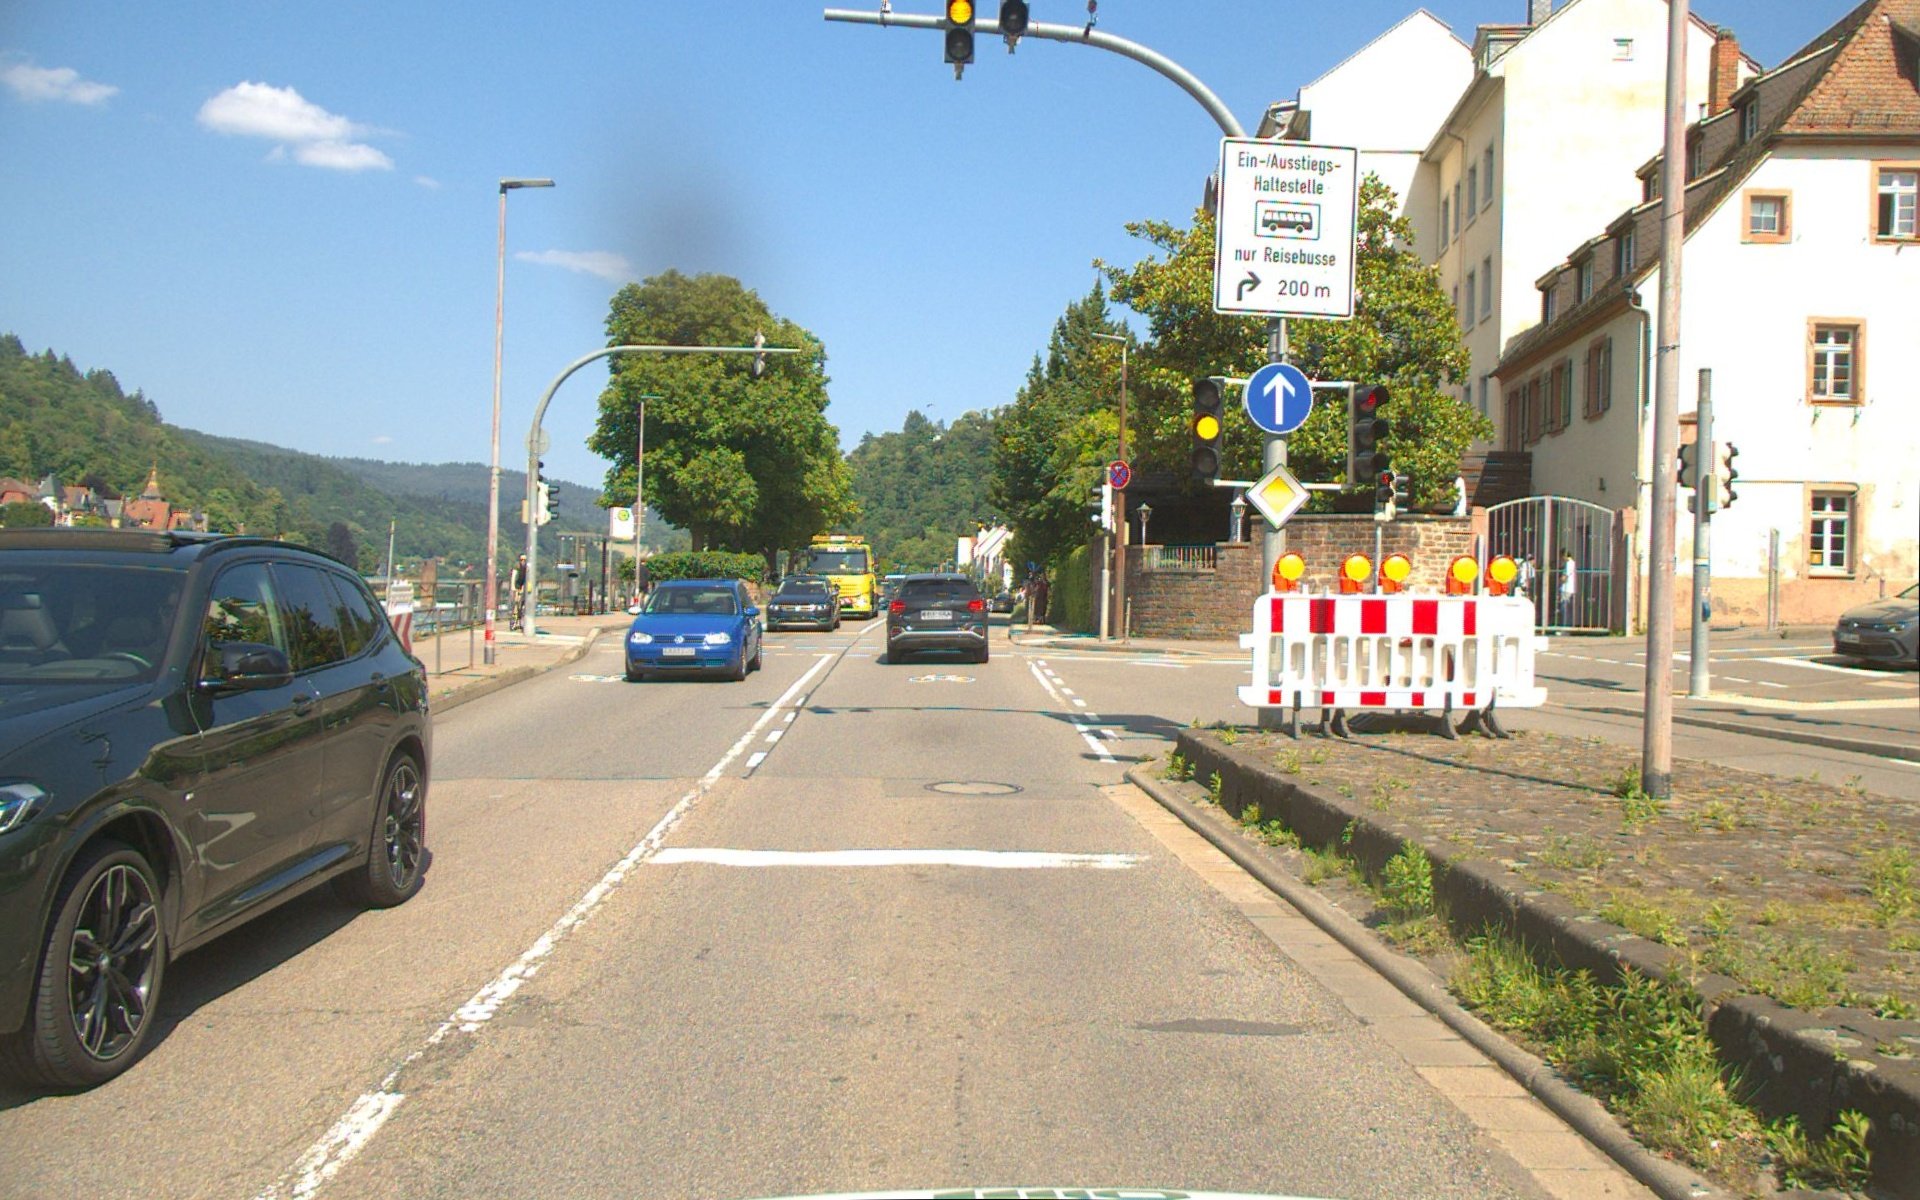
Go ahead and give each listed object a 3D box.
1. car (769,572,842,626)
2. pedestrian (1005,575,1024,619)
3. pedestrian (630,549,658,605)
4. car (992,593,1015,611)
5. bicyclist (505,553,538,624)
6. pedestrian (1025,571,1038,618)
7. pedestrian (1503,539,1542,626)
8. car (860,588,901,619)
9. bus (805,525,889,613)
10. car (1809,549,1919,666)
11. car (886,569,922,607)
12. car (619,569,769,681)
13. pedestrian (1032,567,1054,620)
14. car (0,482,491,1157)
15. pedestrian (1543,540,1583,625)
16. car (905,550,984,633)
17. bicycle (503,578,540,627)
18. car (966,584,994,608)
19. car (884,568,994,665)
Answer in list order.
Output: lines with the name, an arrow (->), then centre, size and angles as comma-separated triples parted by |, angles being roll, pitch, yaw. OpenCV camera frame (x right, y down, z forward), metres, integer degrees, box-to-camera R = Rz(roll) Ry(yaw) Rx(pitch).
car -> -4.280, -0.056, 46.323 | 1.772, 1.430, 4.355 | 0, 1, -2
pedestrian -> 2.126, -0.101, 64.408 | 0.713, 1.678, 0.882 | -2, 0, 2
pedestrian -> -11.048, -0.798, 57.903 | 0.737, 1.951, 1.009 | 0, -2, 1
car -> 3.727, 0.190, 143.646 | 1.952, 1.478, 4.009 | 0, -1, 1
bicyclist -> -10.363, -0.276, 39.086 | 0.654, 1.660, 0.977 | 0, 0, -10
pedestrian -> 2.489, -0.205, 57.687 | 0.446, 1.634, 0.579 | 0, 0, 1
pedestrian -> 11.376, -0.362, 33.445 | 0.708, 1.735, 0.708 | 0, 0, 22
car -> -3.892, 0.169, 81.819 | 1.778, 1.422, 4.347 | 0, 1, 0
bus -> -4.011, -1.107, 60.290 | 2.544, 2.947, 8.446 | 0, 1, -1
car -> 15.017, 0.038, 24.535 | 3.907, 1.511, 1.861 | -2, 4, -2
car -> -3.535, -0.809, 105.038 | 2.053, 2.342, 5.869 | 0, 1, 0
car -> -3.890, 0.324, 24.824 | 1.694, 1.517, 4.324 | 0, 0, -2
pedestrian -> 2.807, -0.216, 55.995 | 0.667, 1.773, 0.913 | 1, 1, 0
car -> -3.312, 0.542, 6.389 | 1.825, 1.710, 4.453 | 0, 0, -1
pedestrian -> 12.476, -0.361, 34.214 | 0.692, 1.735, 0.724 | 0, 0, 27
car -> -0.423, -0.174, 42.977 | 1.953, 2.049, 3.999 | 0, -1, -1
bicycle -> -10.362, 0.040, 39.101 | 0.654, 1.132, 2.030 | 0, 0, -9
car -> 1.333, -0.268, 109.951 | 1.758, 1.507, 4.000 | 2, 1, 1
car -> -0.390, 0.241, 29.491 | 1.819, 1.550, 4.000 | 0, 2, -1
